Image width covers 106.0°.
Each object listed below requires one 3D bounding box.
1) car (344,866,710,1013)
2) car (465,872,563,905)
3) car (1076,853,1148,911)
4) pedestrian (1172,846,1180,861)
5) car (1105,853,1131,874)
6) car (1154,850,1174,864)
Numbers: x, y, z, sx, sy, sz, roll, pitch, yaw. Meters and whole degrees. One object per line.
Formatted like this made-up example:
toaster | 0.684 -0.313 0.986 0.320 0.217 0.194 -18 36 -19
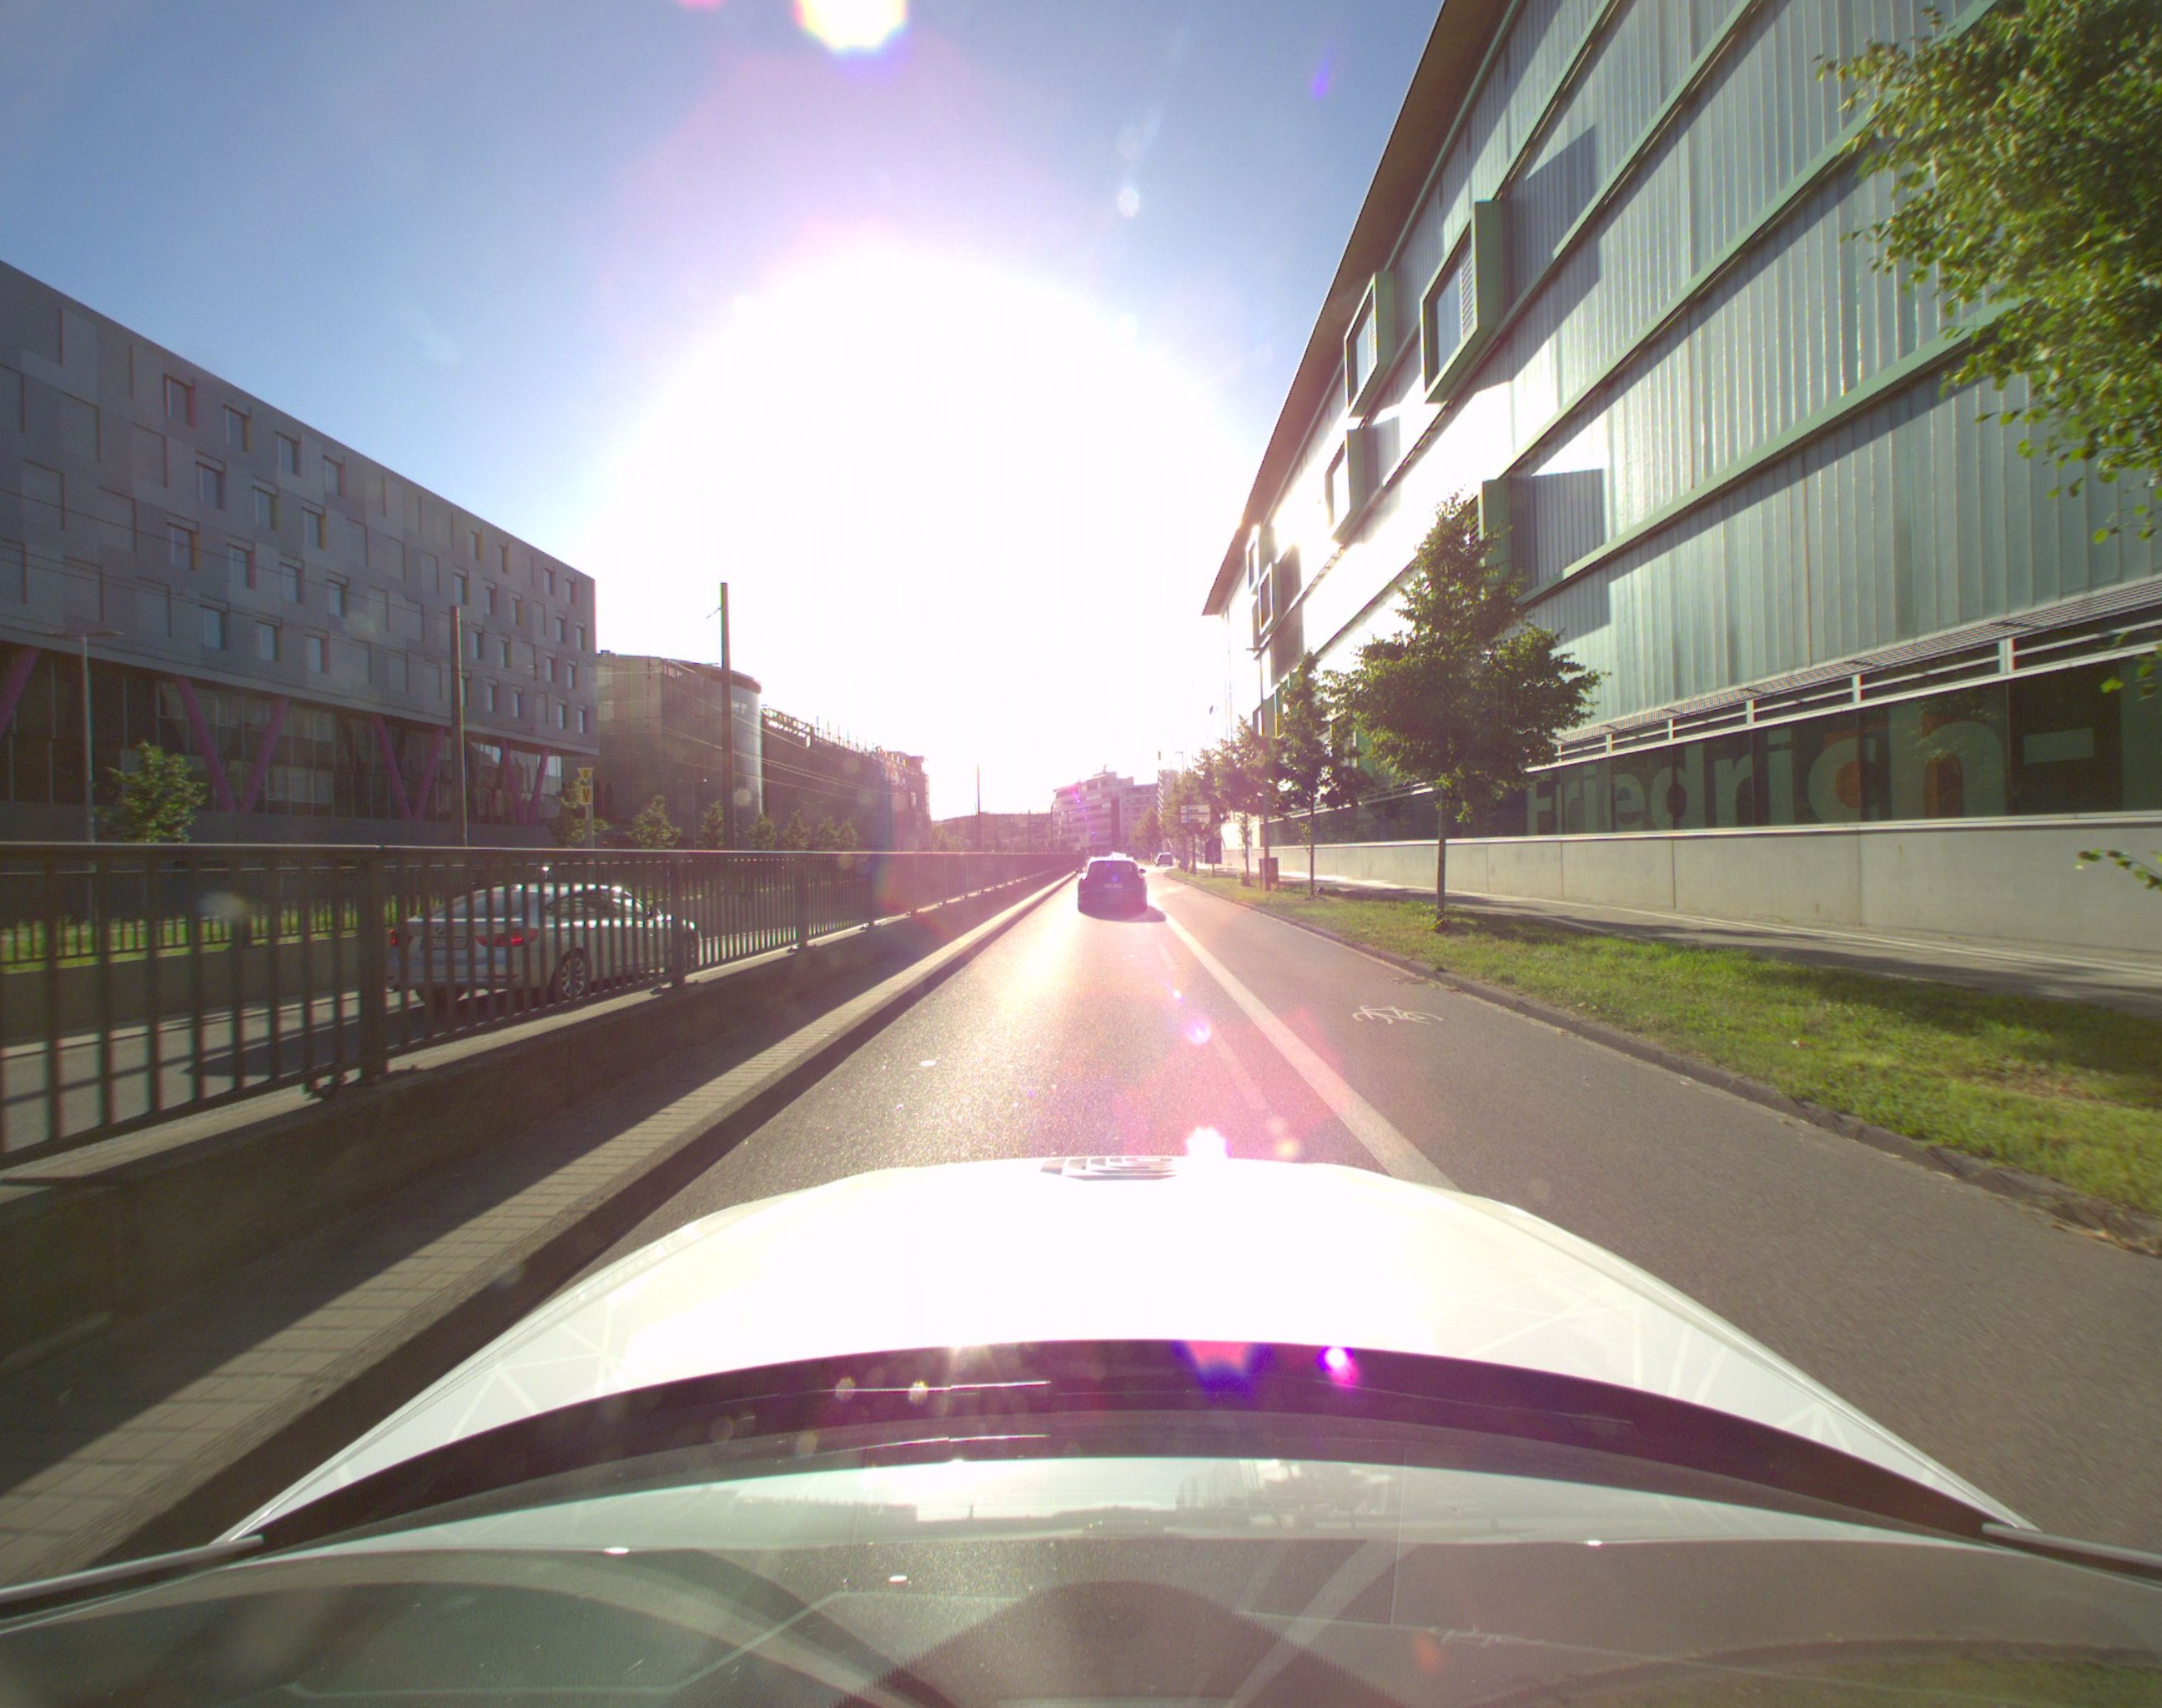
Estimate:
car | -7.294 0.992 11.536 1.792 1.527 4.910 0 0 0
car | -30.367 1.822 43.816 1.791 1.527 4.723 0 0 3
car | 0.838 0.712 23.144 1.806 1.427 4.690 -2 0 1
pedestrian | 12.311 -0.069 105.700 0.833 2.013 0.690 -2 0 2
car | 2.778 0.702 62.243 1.846 1.546 4.001 0 1 1
car | 9.376 0.298 92.186 1.846 1.481 4.855 -3 0 1
